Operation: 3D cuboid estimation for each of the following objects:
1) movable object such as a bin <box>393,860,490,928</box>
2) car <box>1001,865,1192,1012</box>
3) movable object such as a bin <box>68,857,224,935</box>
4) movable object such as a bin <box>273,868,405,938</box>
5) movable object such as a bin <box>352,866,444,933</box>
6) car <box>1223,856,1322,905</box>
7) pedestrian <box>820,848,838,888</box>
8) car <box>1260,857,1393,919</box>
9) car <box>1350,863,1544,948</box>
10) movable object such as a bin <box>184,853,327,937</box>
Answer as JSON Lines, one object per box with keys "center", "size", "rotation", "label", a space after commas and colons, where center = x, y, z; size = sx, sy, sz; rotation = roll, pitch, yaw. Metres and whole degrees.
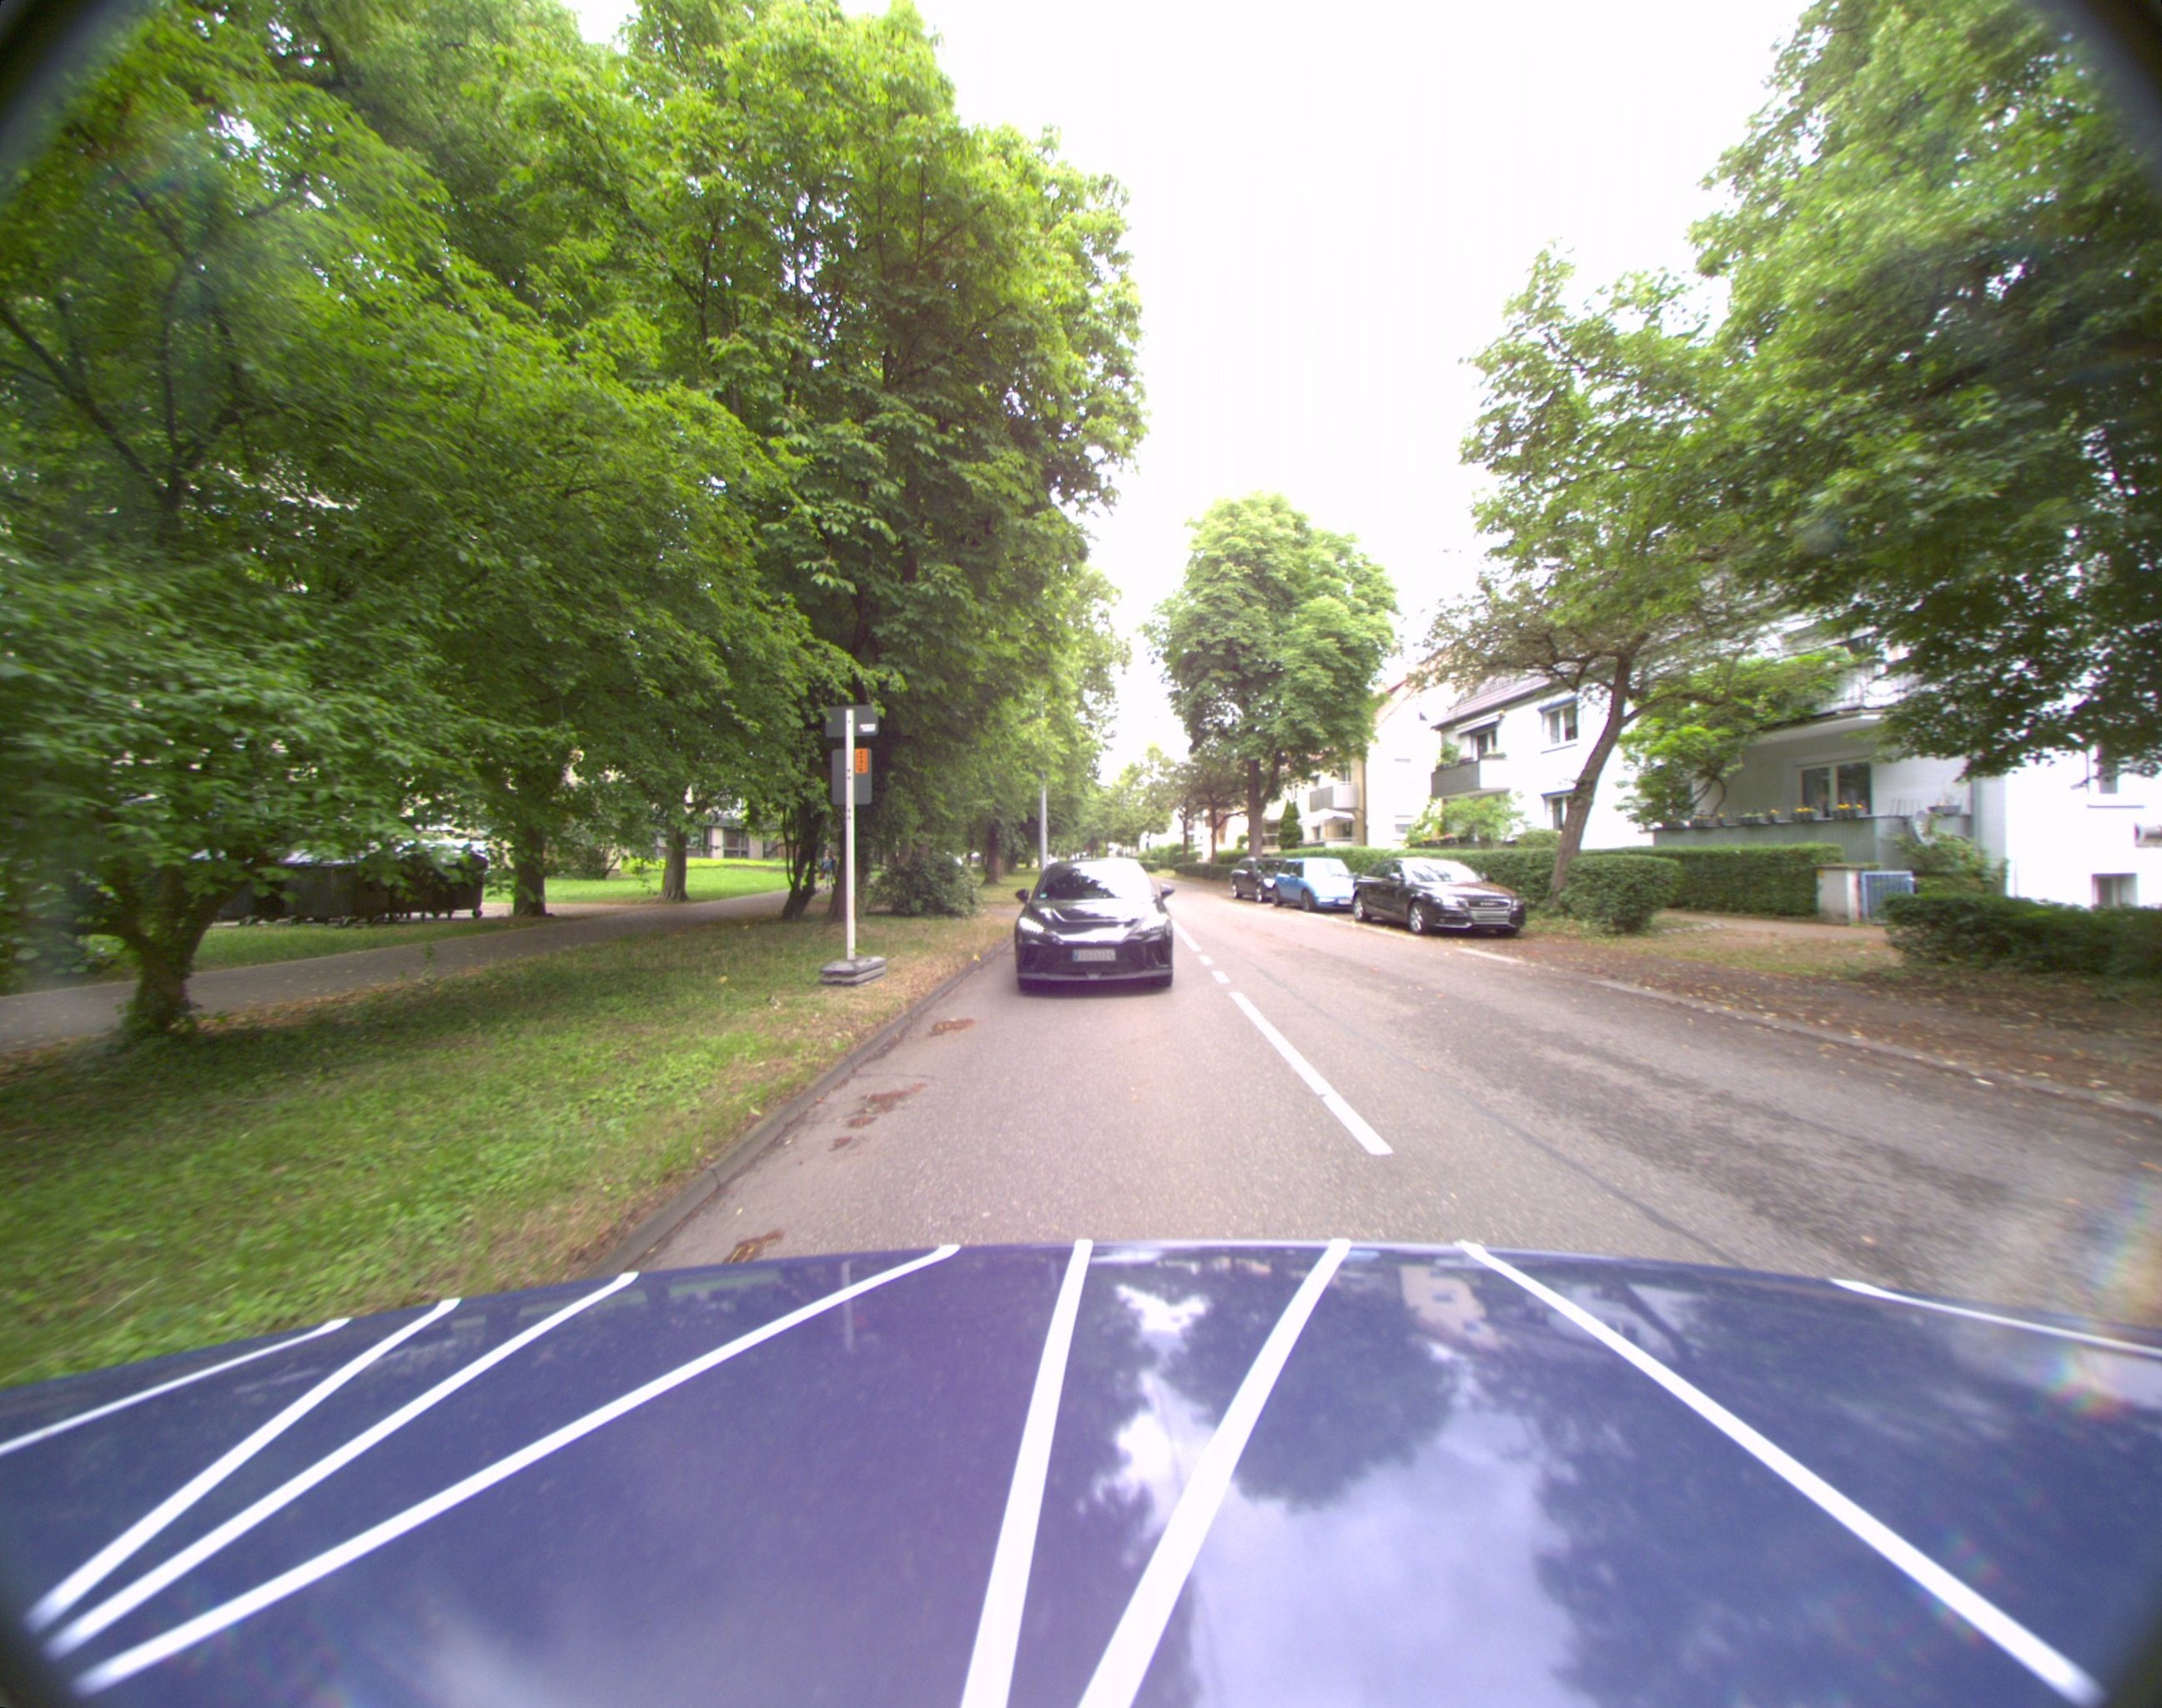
{"center": [-13.806, 0.834, 16.457], "size": [1.195, 1.405, 1.110], "rotation": [0, 0, -9], "label": "movable object such as a bin"}
{"center": [0.131, 0.923, 10.275], "size": [1.999, 1.491, 4.614], "rotation": [0, 0, -1], "label": "car"}
{"center": [-17.018, 0.732, 13.895], "size": [1.195, 1.334, 1.347], "rotation": [0, 0, -9], "label": "movable object such as a bin"}
{"center": [-13.765, 0.883, 14.166], "size": [1.195, 1.213, 1.347], "rotation": [0, 0, -9], "label": "movable object such as a bin"}
{"center": [-13.778, 0.897, 15.364], "size": [1.026, 1.296, 0.959], "rotation": [0, 0, -9], "label": "movable object such as a bin"}
{"center": [6.310, 0.819, 25.606], "size": [1.889, 1.524, 4.564], "rotation": [0, 0, -4], "label": "car"}
{"center": [-11.147, 0.624, 33.646], "size": [0.565, 1.730, 0.570], "rotation": [1, 0, -2], "label": "pedestrian"}
{"center": [6.551, 0.834, 20.857], "size": [1.889, 1.492, 4.564], "rotation": [0, 0, -4], "label": "car"}
{"center": [6.888, 0.892, 14.843], "size": [1.735, 1.395, 4.171], "rotation": [0, 0, -1], "label": "car"}
{"center": [-15.077, 0.719, 13.942], "size": [1.195, 1.448, 1.347], "rotation": [0, 0, -9], "label": "movable object such as a bin"}
